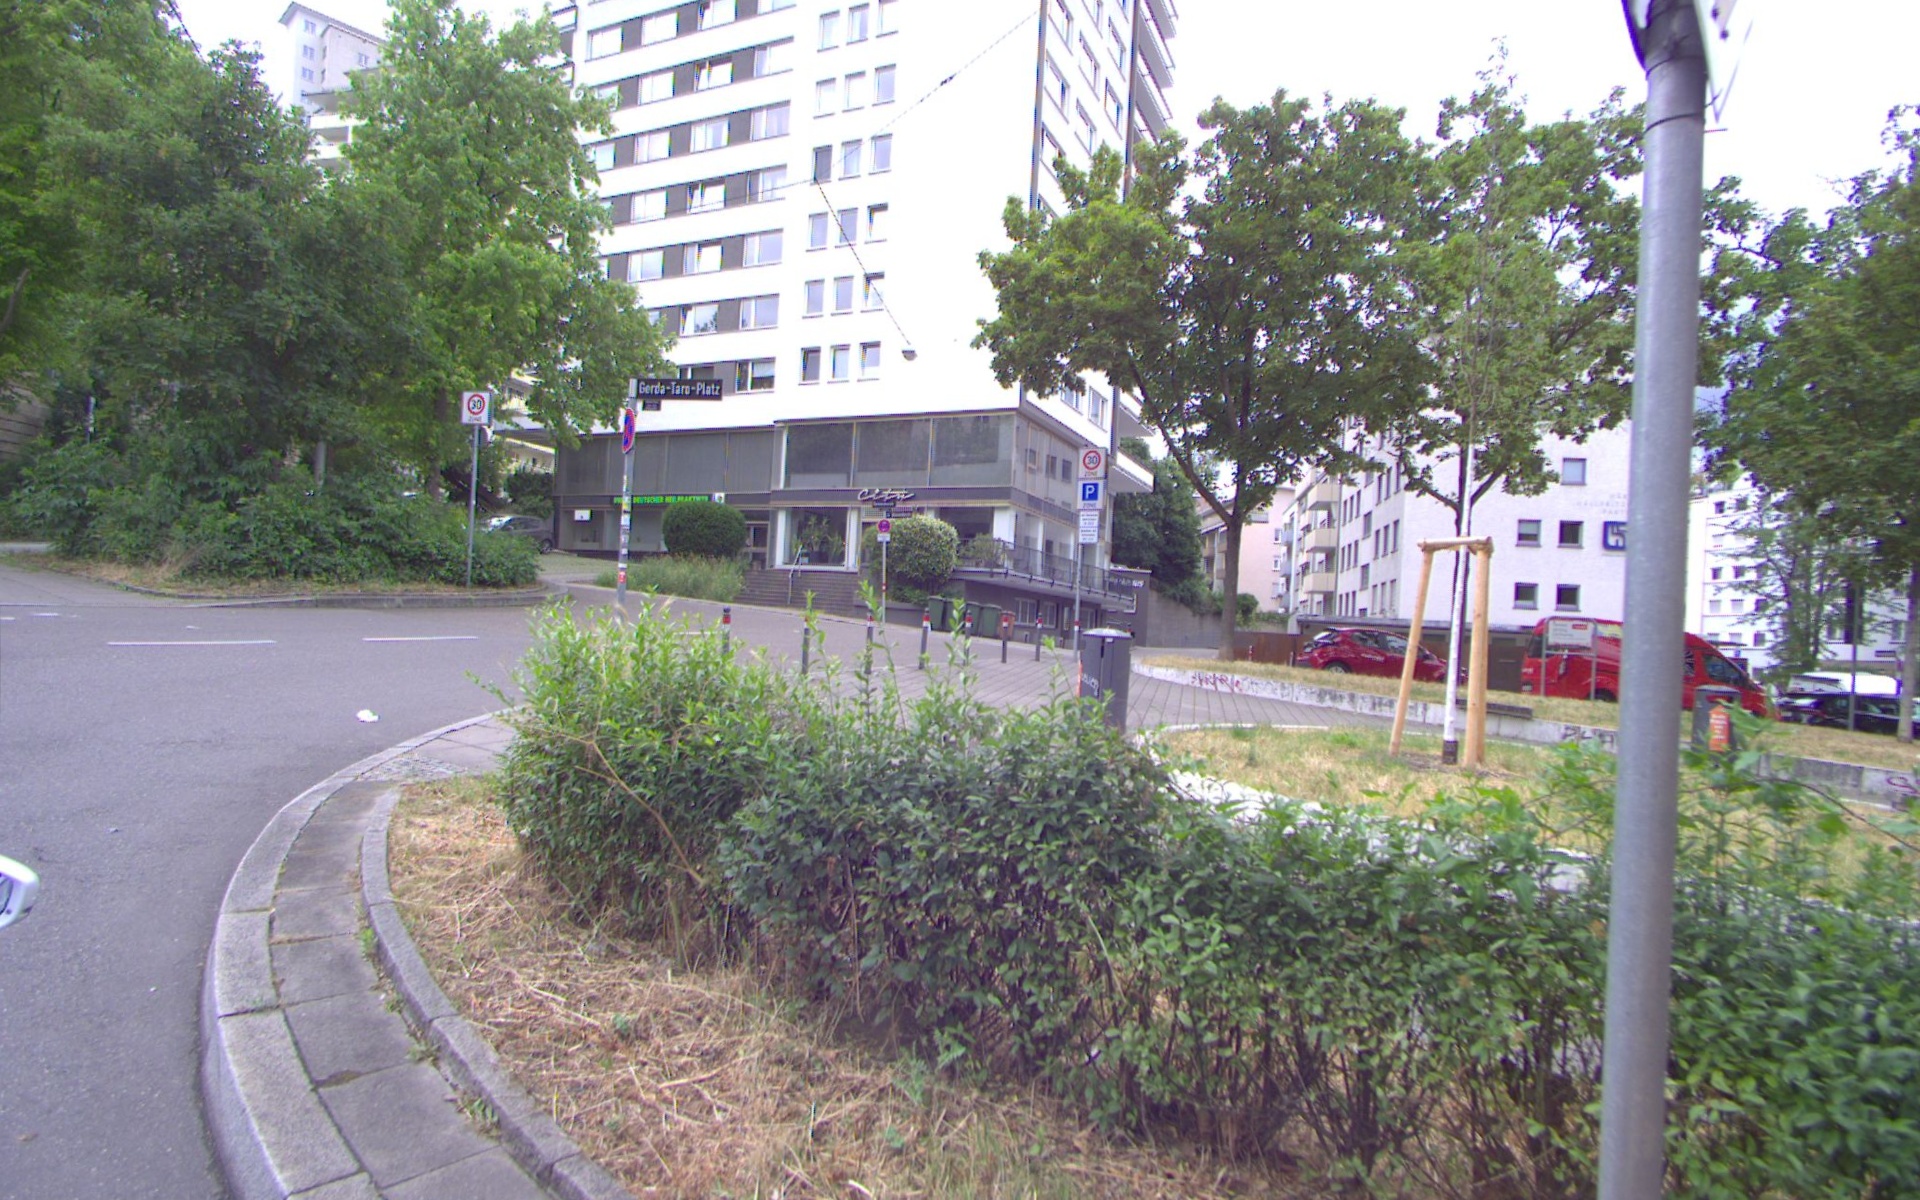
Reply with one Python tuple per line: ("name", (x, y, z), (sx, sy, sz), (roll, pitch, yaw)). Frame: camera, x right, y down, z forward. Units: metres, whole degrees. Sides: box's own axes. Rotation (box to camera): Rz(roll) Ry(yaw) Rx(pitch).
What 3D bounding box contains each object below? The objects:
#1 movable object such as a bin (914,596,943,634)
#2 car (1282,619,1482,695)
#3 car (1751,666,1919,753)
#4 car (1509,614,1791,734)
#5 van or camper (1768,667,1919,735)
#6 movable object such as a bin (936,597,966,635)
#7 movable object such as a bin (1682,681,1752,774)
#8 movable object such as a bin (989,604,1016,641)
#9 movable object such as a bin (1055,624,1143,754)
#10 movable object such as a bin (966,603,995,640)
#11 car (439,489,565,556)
("movable object such as a bin", (-1.000, 0.468, 32.020), (0.700, 1.118, 0.824), (6, 1, 8))
("car", (9.634, 1.329, 23.197), (3.848, 1.293, 1.622), (6, -3, 3))
("car", (20.637, 2.512, 22.666), (4.072, 1.524, 1.756), (7, -3, 2))
("car", (15.638, 1.676, 23.016), (4.889, 2.050, 2.032), (7, -3, 2))
("van or camper", (34.791, 3.993, 39.869), (2.257, 2.255, 5.451), (5, -4, 16))
("movable object such as a bin", (-0.281, 0.507, 32.027), (0.700, 1.118, 0.824), (6, 1, 8))
("movable object such as a bin", (9.681, 1.622, 12.888), (0.599, 1.094, 0.670), (4, -3, 32))
("movable object such as a bin", (1.370, 0.713, 32.298), (0.668, 1.118, 0.824), (6, 1, 8))
("movable object such as a bin", (1.299, 0.817, 9.382), (0.556, 1.108, 0.494), (7, 1, 31))
("movable object such as a bin", (0.665, 0.689, 32.464), (0.700, 1.118, 0.824), (6, 1, 8))
("car", (-18.048, -3.027, 39.808), (1.964, 2.039, 4.140), (7, 0, 24))
